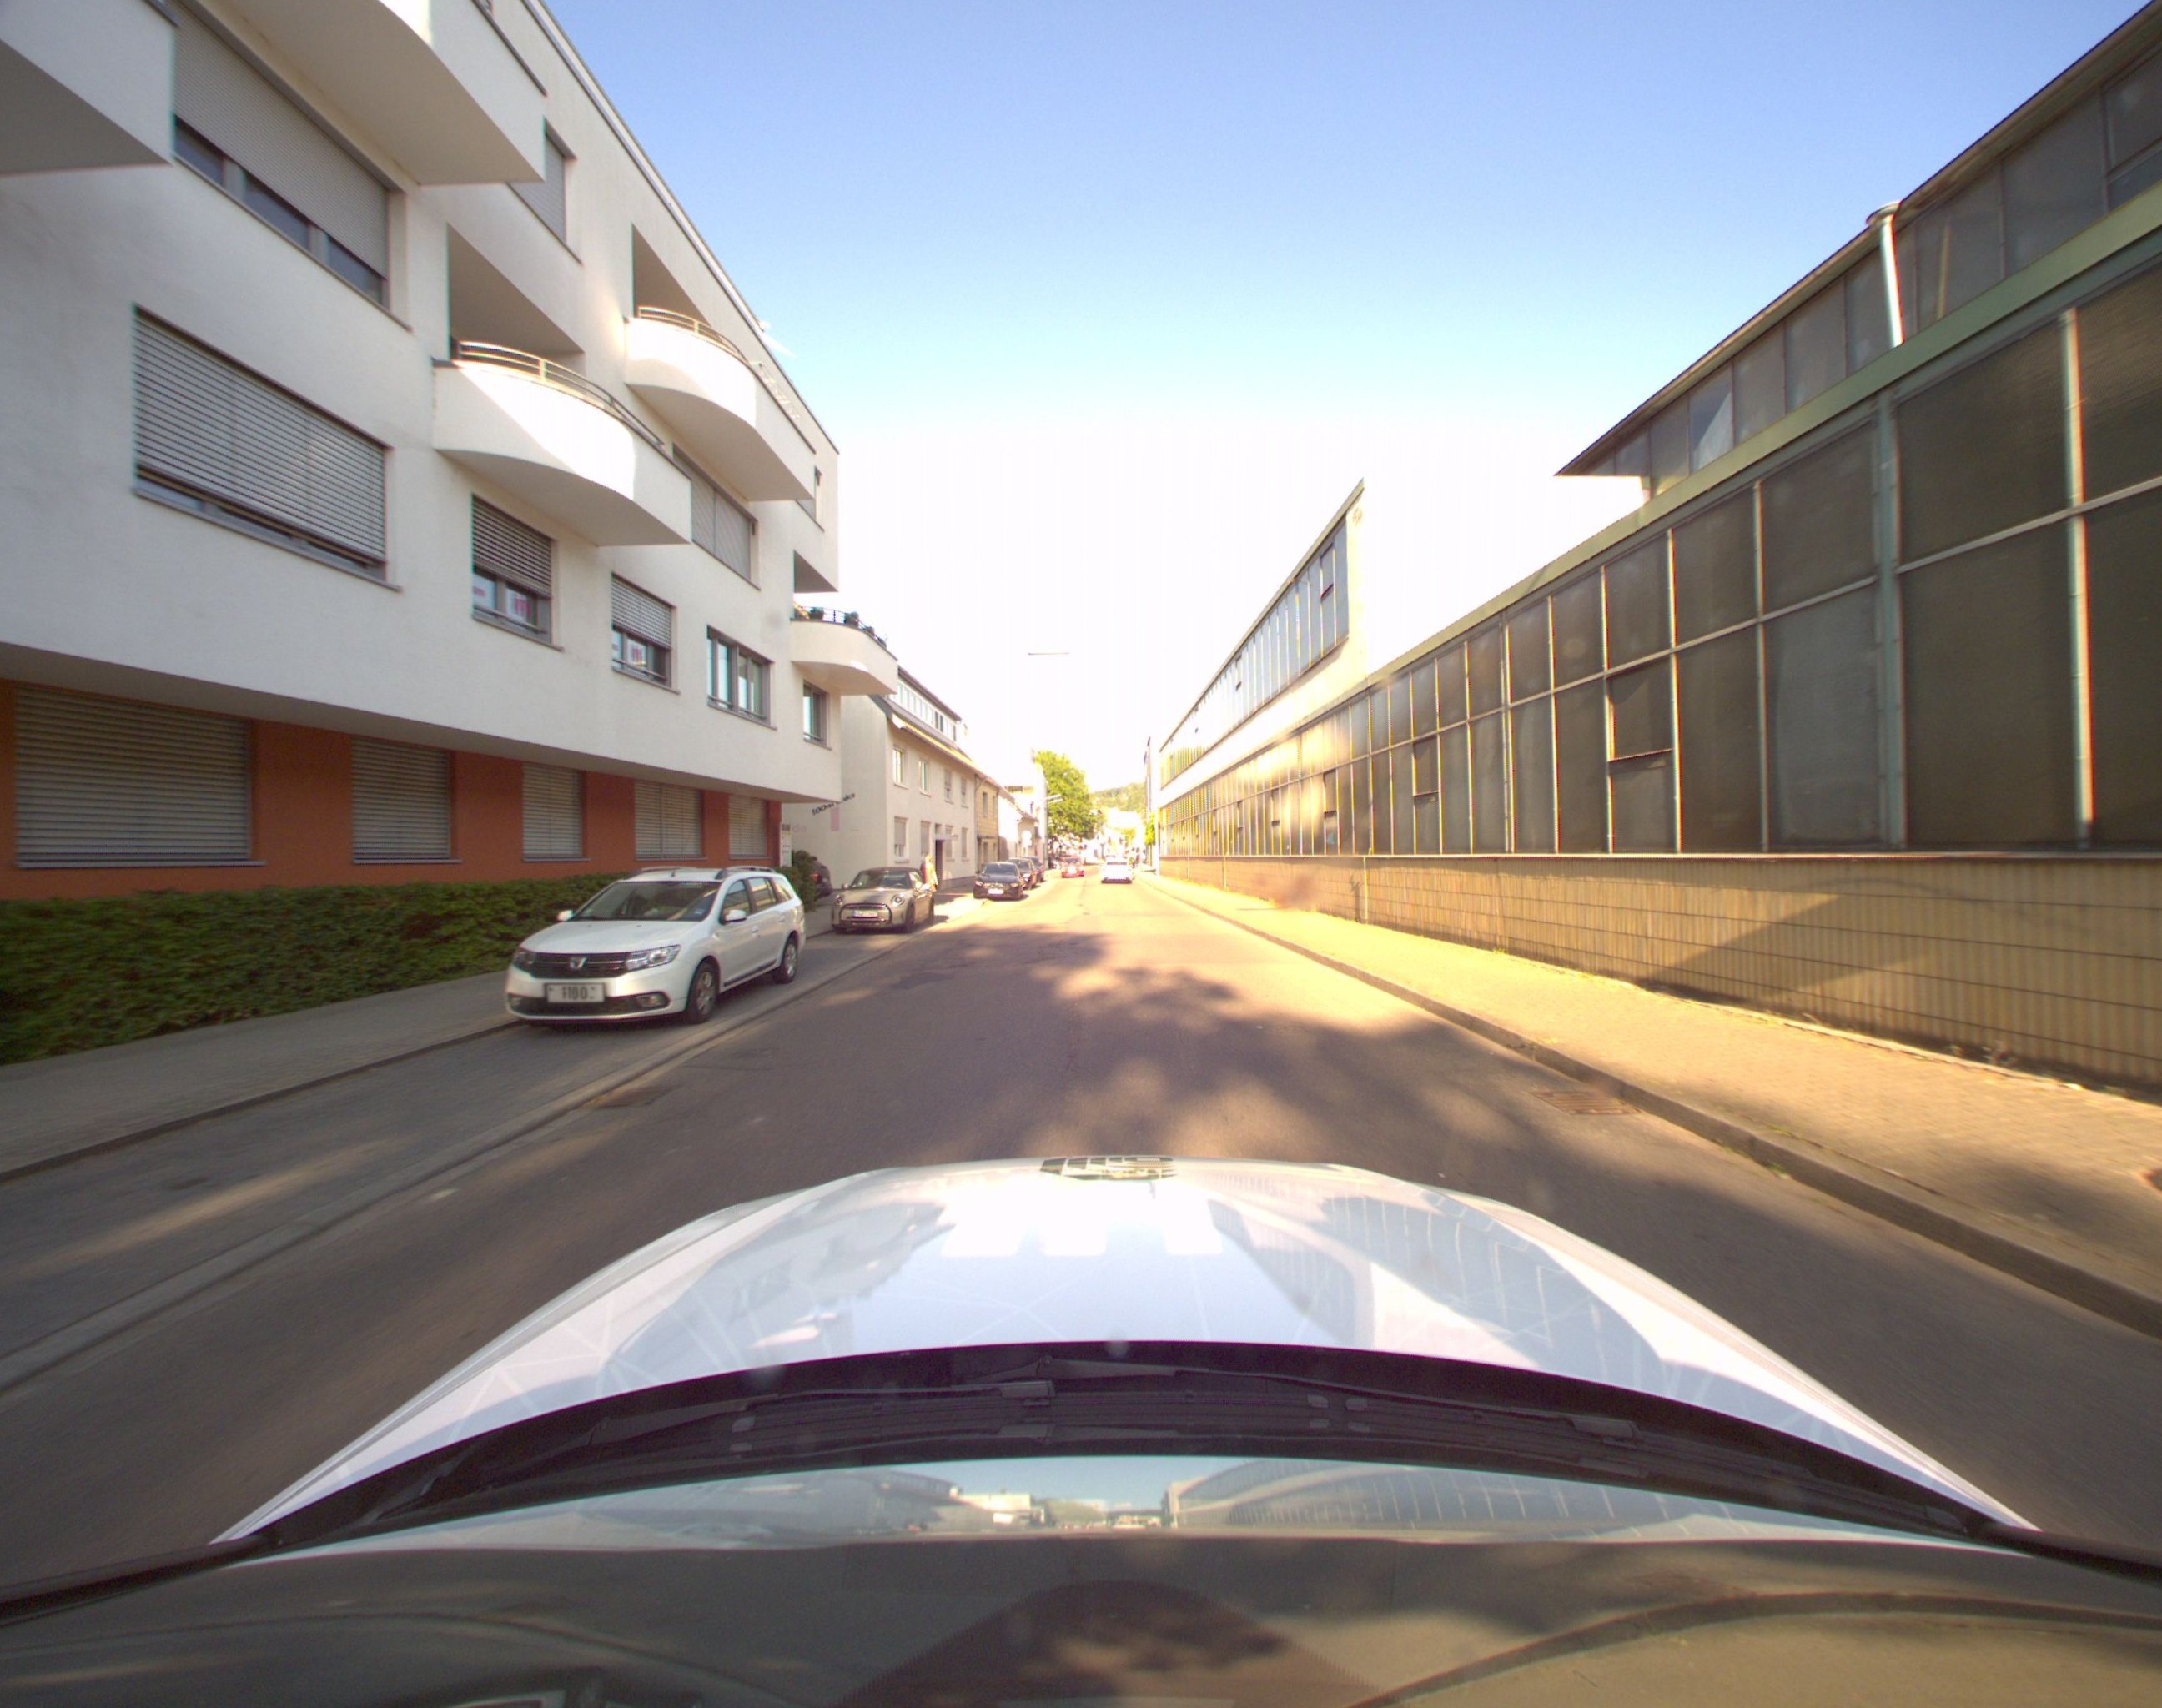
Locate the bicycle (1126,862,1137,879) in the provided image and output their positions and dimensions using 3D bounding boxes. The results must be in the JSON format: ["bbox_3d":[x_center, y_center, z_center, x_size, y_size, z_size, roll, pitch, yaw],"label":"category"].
[{"bbox_3d":[3.366,1.096,54.250,0.695,1.130,2.404,0,-1,2],"label":"bicycle"}]

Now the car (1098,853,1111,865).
[{"bbox_3d":[3.584,0.772,125.353,1.848,1.791,4.605,0,0,-1],"label":"car"}]

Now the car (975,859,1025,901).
[{"bbox_3d":[-3.119,0.977,31.989,1.680,1.535,4.330,1,-1,-3],"label":"car"}]

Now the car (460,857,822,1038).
[{"bbox_3d":[-4.653,0.864,9.593,1.853,1.587,4.617,1,-1,-2],"label":"car"}]

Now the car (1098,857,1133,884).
[{"bbox_3d":[1.953,0.921,46.922,1.836,1.491,4.143,0,-1,0],"label":"car"}]

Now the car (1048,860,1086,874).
[{"bbox_3d":[-1.581,1.480,92.714,4.108,1.491,1.852,0,-1,7],"label":"car"}]

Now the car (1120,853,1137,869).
[{"bbox_3d":[5.169,0.753,88.738,1.624,1.587,4.069,-3,-1,1],"label":"car"}]

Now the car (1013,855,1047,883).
[{"bbox_3d":[-3.150,0.919,51.115,1.802,1.587,4.194,1,1,1],"label":"car"}]

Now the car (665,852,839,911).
[{"bbox_3d":[-10.289,0.844,25.751,4.592,1.638,2.013,-2,0,-1],"label":"car"}]

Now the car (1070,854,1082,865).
[{"bbox_3d":[-0.716,0.851,124.445,1.698,1.575,3.914,0,0,1],"label":"car"}]

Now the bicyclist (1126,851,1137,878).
[{"bbox_3d":[3.366,0.682,54.277,0.695,1.790,1.041,0,-1,2],"label":"bicyclist"}]

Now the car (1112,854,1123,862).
[{"bbox_3d":[6.497,0.734,146.168,1.835,1.491,4.145,0,-1,1],"label":"car"}]

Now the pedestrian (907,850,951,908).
[{"bbox_3d":[-4.981,0.811,26.736,0.854,1.818,1.138,3,0,24],"label":"pedestrian"}]

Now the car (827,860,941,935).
[{"bbox_3d":[-4.462,0.935,19.012,1.662,1.536,3.856,1,-1,0],"label":"car"}]

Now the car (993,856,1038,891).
[{"bbox_3d":[-3.318,0.960,41.978,1.851,1.587,4.337,1,1,2],"label":"car"}]

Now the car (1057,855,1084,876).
[{"bbox_3d":[-0.733,0.817,59.442,1.836,1.491,4.144,0,-1,0],"label":"car"}]
